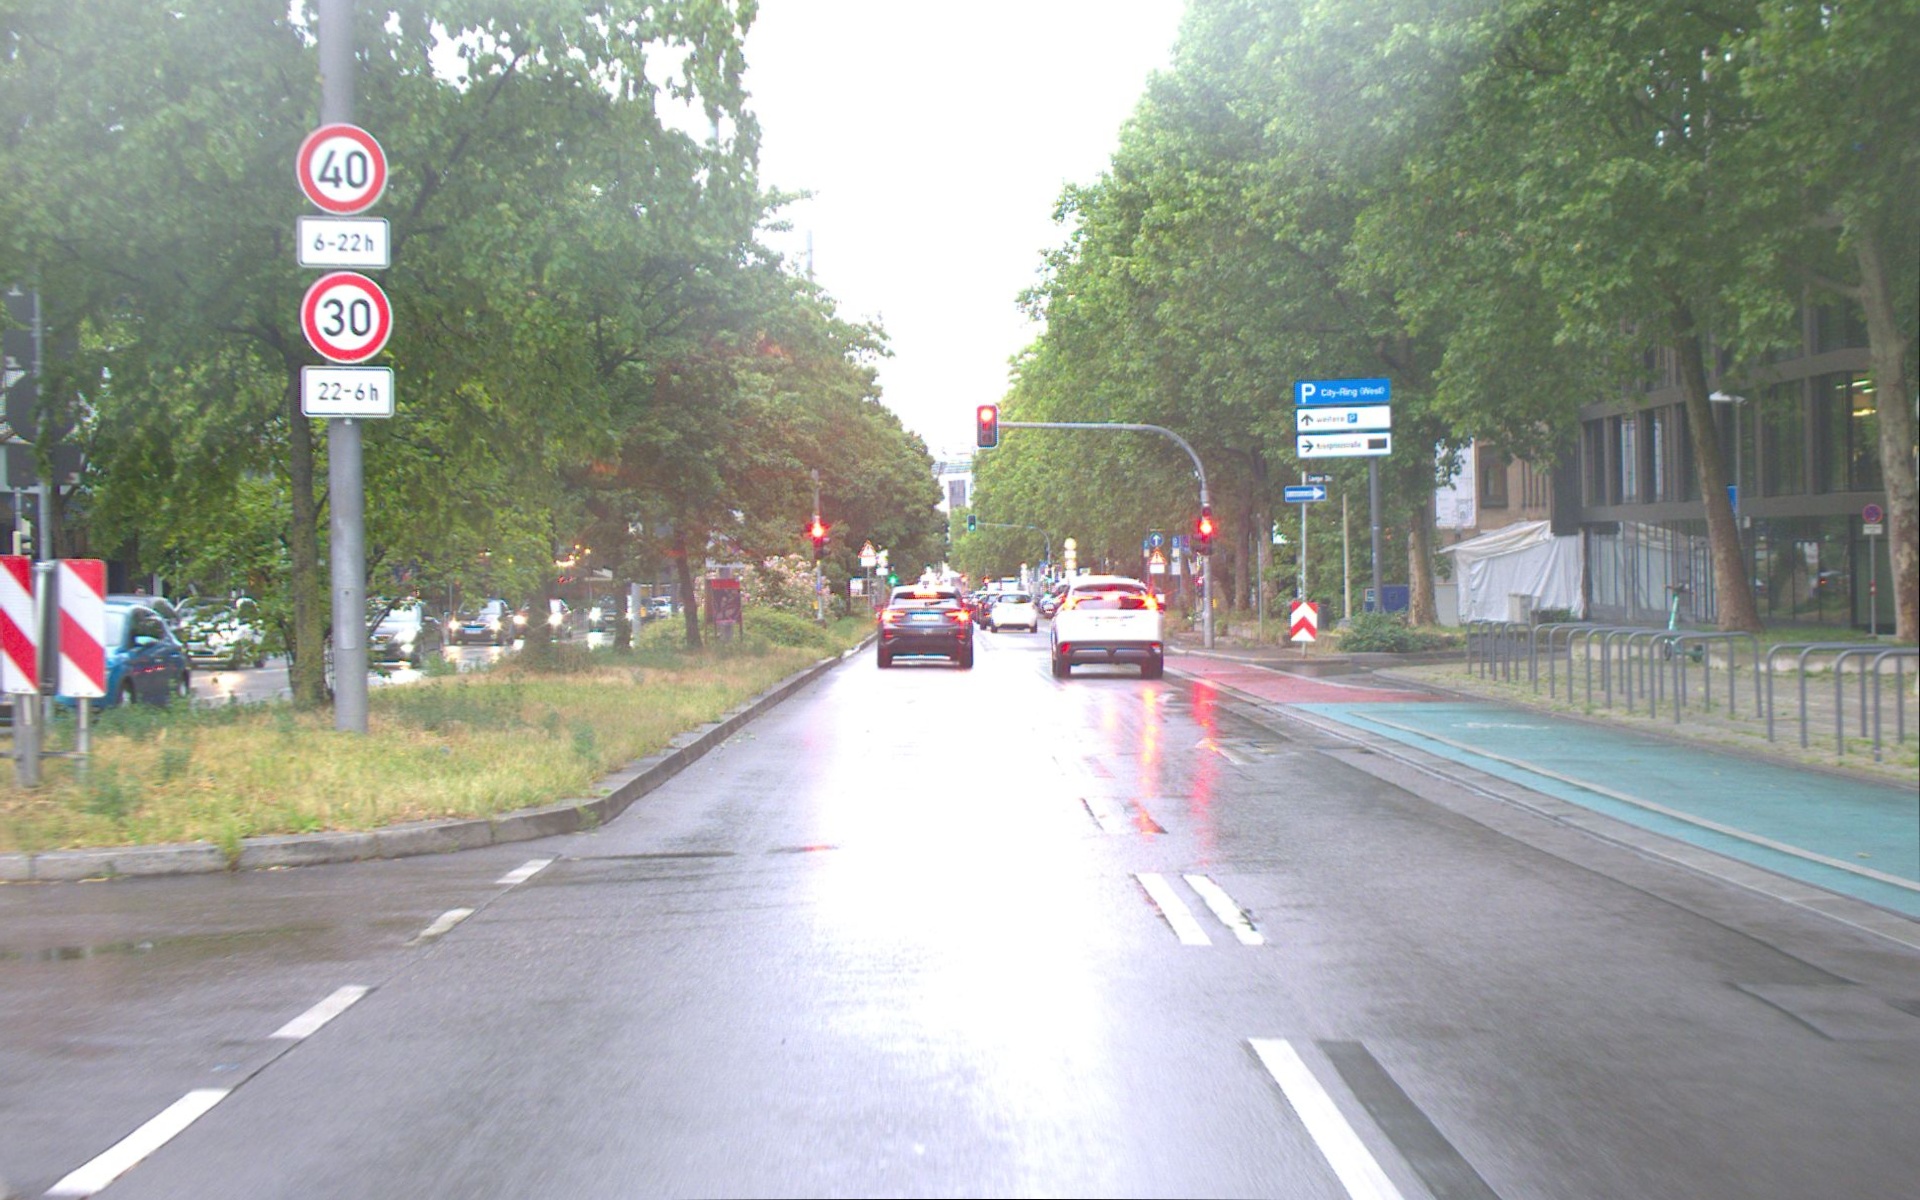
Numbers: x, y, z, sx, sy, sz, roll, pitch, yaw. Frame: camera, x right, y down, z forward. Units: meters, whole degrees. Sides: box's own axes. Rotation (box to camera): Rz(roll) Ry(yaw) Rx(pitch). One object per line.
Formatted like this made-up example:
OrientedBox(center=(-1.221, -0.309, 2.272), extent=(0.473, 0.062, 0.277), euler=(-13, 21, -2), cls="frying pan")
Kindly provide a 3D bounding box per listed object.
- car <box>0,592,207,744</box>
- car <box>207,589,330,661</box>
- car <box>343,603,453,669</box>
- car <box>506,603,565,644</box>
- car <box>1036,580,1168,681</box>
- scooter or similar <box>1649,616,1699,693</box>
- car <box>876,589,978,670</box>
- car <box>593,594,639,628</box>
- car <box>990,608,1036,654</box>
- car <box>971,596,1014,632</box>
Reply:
OrientedBox(center=(-9.623, 0.693, 37.609), extent=(1.843, 1.477, 4.396), euler=(1, 1, -1), cls="car")
OrientedBox(center=(-14.277, 0.495, 71.169), extent=(1.843, 1.424, 3.643), euler=(0, 0, -1), cls="car")
OrientedBox(center=(-11.911, 0.746, 73.089), extent=(1.719, 1.321, 4.000), euler=(0, 0, -1), cls="car")
OrientedBox(center=(-15.136, 0.837, 122.662), extent=(1.614, 1.389, 4.184), euler=(0, 0, -1), cls="car")
OrientedBox(center=(2.390, 0.490, 58.870), extent=(1.993, 1.649, 4.889), euler=(0, 0, -1), cls="car")
OrientedBox(center=(11.449, 0.870, 55.110), extent=(0.381, 1.224, 1.077), euler=(0, 0, 36), cls="scooter or similar")
OrientedBox(center=(-0.641, 0.546, 66.585), extent=(1.918, 1.486, 4.000), euler=(0, 0, -1), cls="car")
OrientedBox(center=(-14.504, 0.451, 145.236), extent=(1.614, 1.389, 3.597), euler=(0, 0, -1), cls="car")
OrientedBox(center=(1.979, 1.150, 129.599), extent=(1.620, 1.660, 4.000), euler=(-1, 0, -1), cls="car")
OrientedBox(center=(1.280, 0.556, 138.110), extent=(1.620, 1.369, 4.000), euler=(-1, 0, -1), cls="car")
